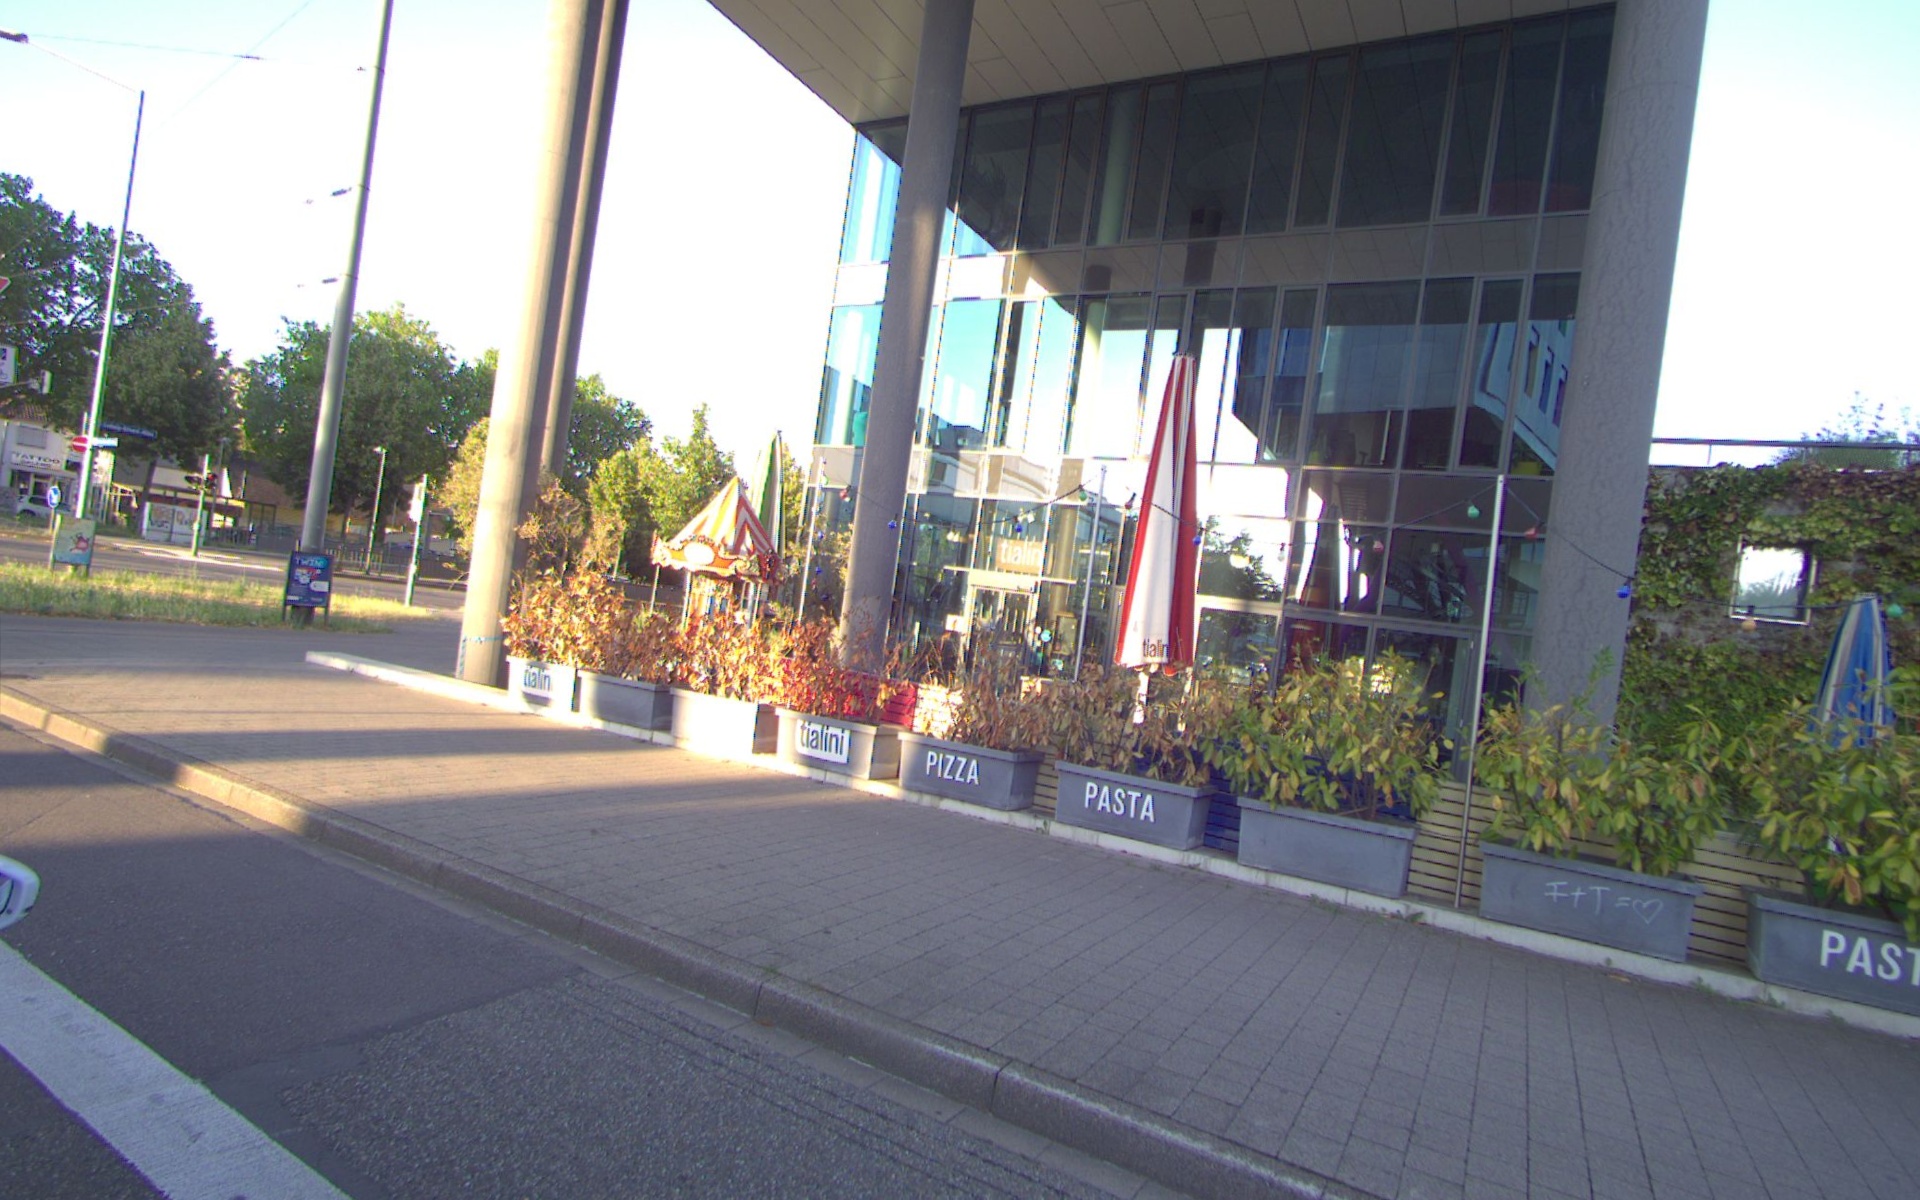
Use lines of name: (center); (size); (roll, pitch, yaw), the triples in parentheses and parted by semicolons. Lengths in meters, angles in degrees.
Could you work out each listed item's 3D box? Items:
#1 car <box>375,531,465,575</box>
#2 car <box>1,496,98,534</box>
car: (-42.620, -3.692, 79.503); (2.197, 2.581, 5.594); (7, -2, 39)
car: (-50.429, -4.707, 55.758); (1.641, 1.456, 3.736); (6, -2, 41)
